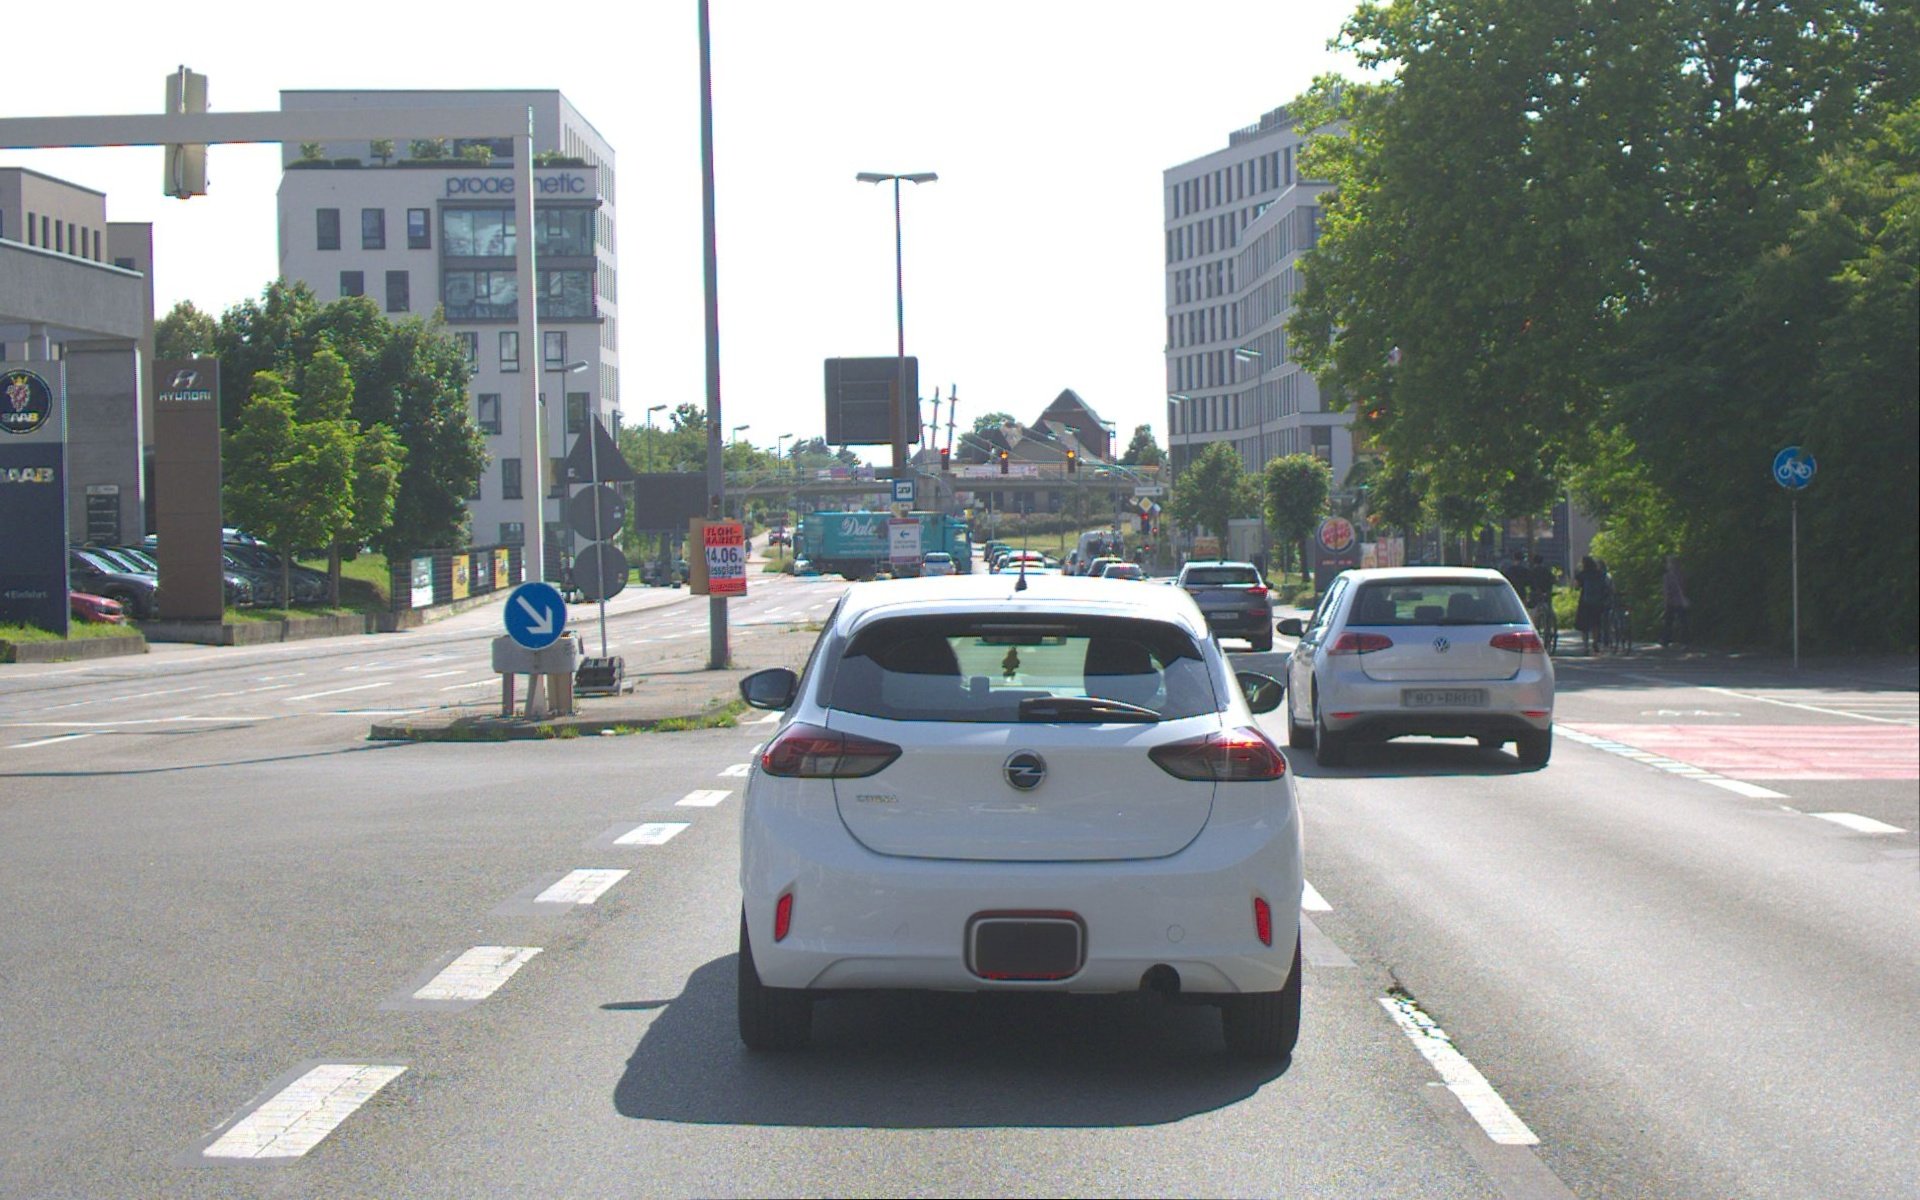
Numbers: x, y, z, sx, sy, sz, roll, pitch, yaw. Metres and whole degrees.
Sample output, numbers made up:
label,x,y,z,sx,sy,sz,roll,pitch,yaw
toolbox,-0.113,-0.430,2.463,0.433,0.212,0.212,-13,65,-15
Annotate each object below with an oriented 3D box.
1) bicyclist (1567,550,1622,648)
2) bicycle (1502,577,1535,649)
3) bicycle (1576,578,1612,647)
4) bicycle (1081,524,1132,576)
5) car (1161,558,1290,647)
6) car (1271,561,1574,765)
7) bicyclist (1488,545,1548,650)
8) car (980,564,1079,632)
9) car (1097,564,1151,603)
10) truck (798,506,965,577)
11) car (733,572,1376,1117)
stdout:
label,x,y,z,sx,sy,sz,roll,pitch,yaw
bicyclist,10.732,-0.029,58.166,0.688,1.637,0.777,-1,1,-7
bicycle,9.546,0.214,58.781,0.372,1.212,1.154,1,0,1
bicycle,10.712,0.208,58.119,0.373,1.143,1.034,1,0,-1
bicycle,6.227,-2.127,146.587,1.993,2.150,4.000,-1,1,0
car,4.804,0.016,62.723,1.993,1.546,4.434,-1,1,0
car,3.482,0.443,26.538,1.807,1.424,4.000,-1,0,0
bicyclist,9.534,-0.051,58.775,0.879,1.766,0.864,-1,1,1
car,1.493,-0.056,75.243,1.993,1.442,4.371,0,0,-1
car,6.009,-0.601,126.402,1.806,1.381,4.000,1,0,0
truck,-4.401,-3.313,194.647,9.061,3.821,3.081,-1,1,-31
car,0.276,0.669,11.641,1.779,1.489,4.000,-1,1,0
